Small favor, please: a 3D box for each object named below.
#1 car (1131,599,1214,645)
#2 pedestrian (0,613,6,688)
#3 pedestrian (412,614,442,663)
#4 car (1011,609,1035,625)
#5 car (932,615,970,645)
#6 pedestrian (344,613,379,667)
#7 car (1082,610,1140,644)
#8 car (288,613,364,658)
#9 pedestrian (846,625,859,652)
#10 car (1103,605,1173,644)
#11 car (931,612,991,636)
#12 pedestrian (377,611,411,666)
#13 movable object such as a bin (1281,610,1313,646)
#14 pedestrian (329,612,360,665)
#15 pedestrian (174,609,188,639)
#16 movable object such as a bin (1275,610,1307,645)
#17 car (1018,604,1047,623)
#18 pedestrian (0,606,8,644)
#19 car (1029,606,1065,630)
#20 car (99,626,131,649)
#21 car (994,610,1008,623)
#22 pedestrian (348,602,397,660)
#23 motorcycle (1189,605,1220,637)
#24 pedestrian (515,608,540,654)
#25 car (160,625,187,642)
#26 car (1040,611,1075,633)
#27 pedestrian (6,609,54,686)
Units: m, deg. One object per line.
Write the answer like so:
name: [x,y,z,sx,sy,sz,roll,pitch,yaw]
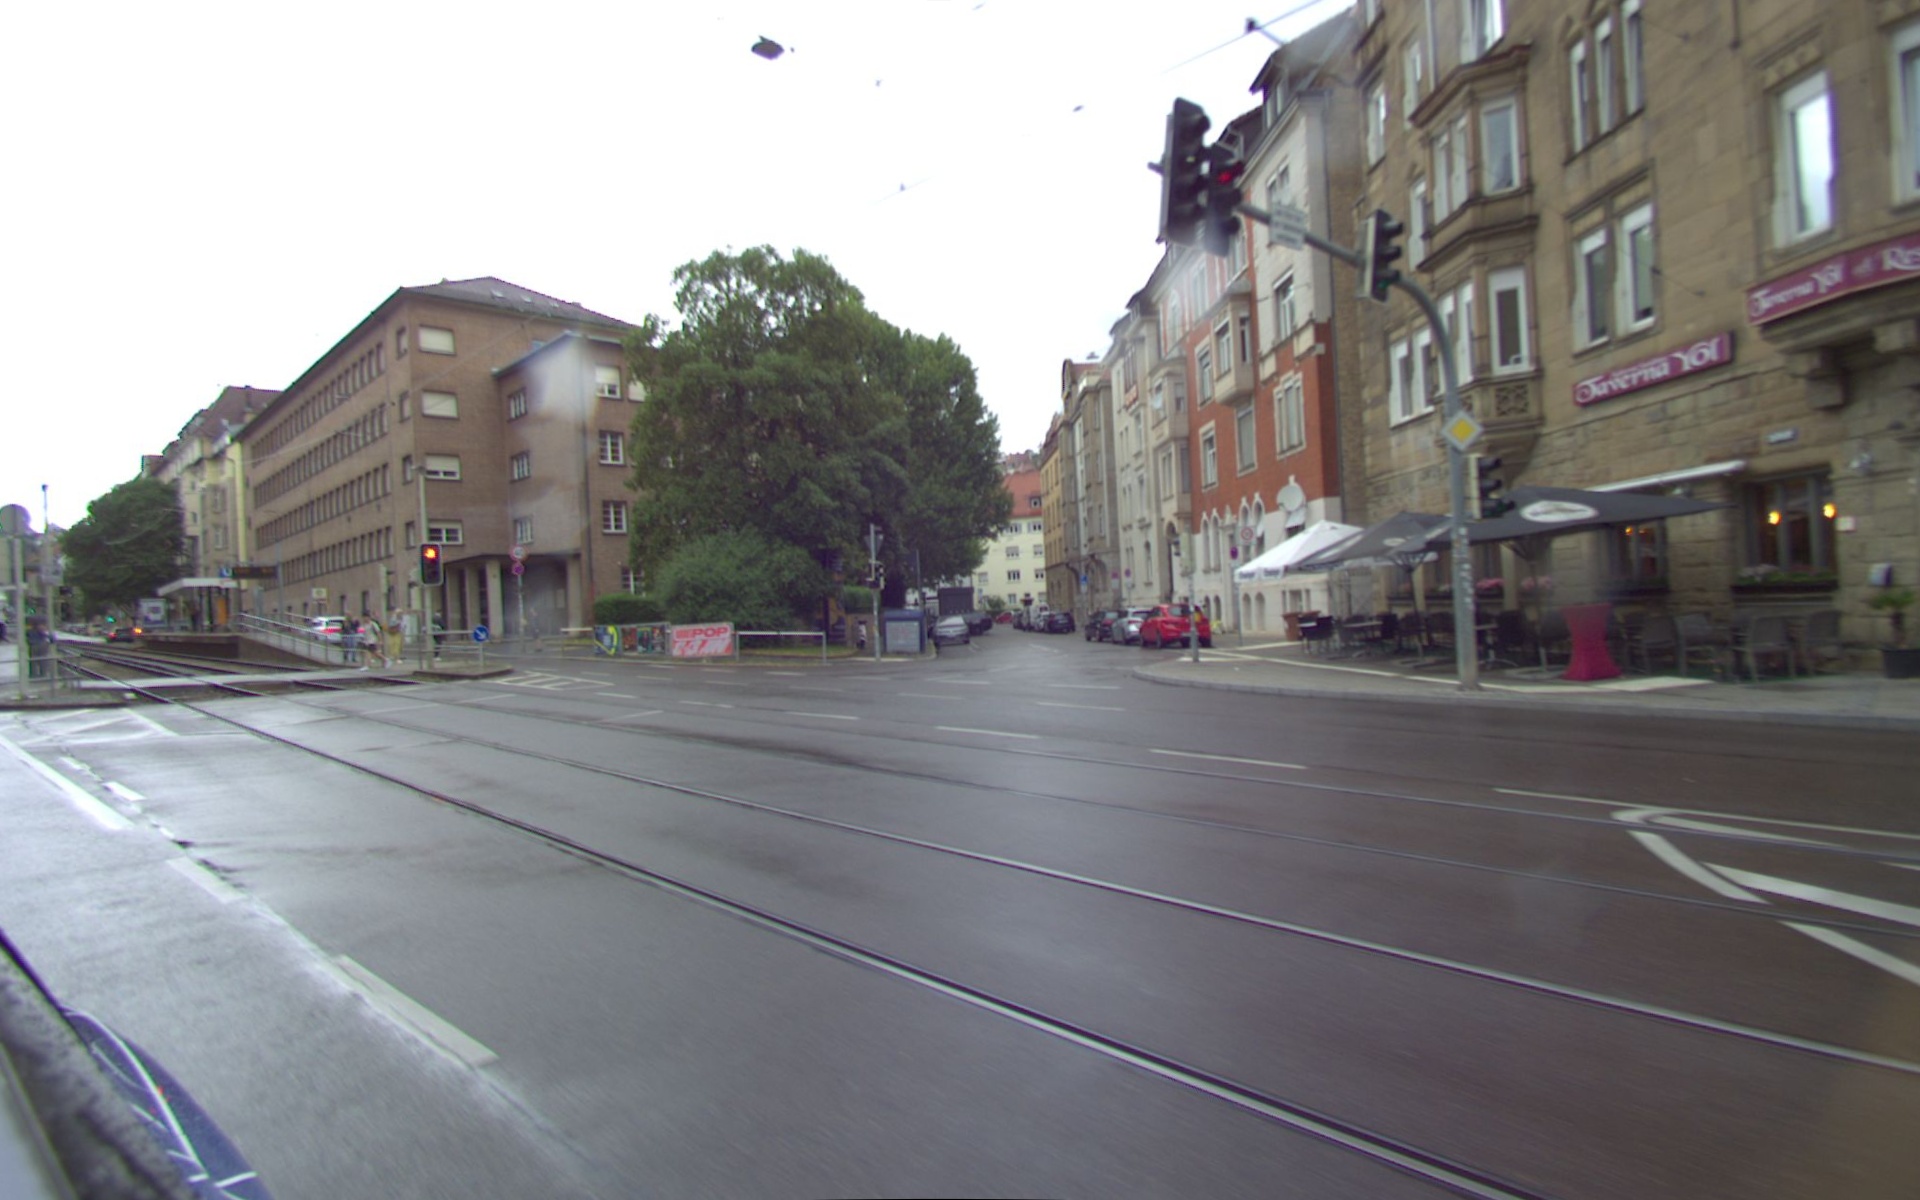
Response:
car: [7.013,0.735,33.796,1.717,1.413,4.002,-1,-1,-3]
pedestrian: [-26.564,1.397,27.199,0.916,2.029,0.947,-2,0,1]
pedestrian: [-18.217,1.306,34.613,0.649,1.663,0.756,-2,-2,45]
car: [5.500,1.484,88.402,1.717,1.413,3.702,-1,-1,-2]
car: [-0.475,1.499,50.882,1.717,1.413,4.002,-1,-1,-3]
pedestrian: [-19.536,1.299,33.019,0.883,1.709,0.735,-1,1,44]
car: [6.675,1.196,45.084,1.717,1.413,4.146,-1,-1,-3]
car: [-30.161,1.655,48.070,1.970,1.639,5.258,1,3,-44]
pedestrian: [-4.285,1.533,40.297,0.411,1.093,0.283,-1,-1,-20]
car: [6.771,0.925,38.835,1.717,1.413,4.170,-1,-1,-3]
car: [0.061,1.600,67.376,3.943,1.489,1.742,-1,-1,0]
pedestrian: [-17.846,1.218,31.899,0.735,1.659,0.641,-4,1,-44]
movable object such as a bin: [10.140,0.828,30.446,0.709,1.050,0.552,-1,-1,-14]
pedestrian: [-20.535,1.281,33.761,0.688,1.711,0.657,-1,1,43]
pedestrian: [-46.548,1.435,60.455,0.491,1.722,0.580,-3,-2,45]
movable object such as a bin: [10.164,0.832,31.064,0.709,1.050,0.552,-1,-1,-14]
car: [5.672,1.052,79.326,1.717,1.413,4.002,-1,-1,-3]
pedestrian: [-46.560,1.222,48.978,0.636,1.788,0.711,-2,0,-44]
car: [6.255,1.295,73.364,1.970,1.643,4.003,-1,-1,-3]
car: [-78.546,3.453,94.068,1.970,2.029,4.003,1,-2,-44]
car: [4.790,1.918,119.093,1.550,1.413,3.699,-1,-1,2]
pedestrian: [-16.363,0.859,28.206,0.693,1.595,0.945,-2,-1,33]
motorcycle: [9.995,0.856,41.427,0.738,1.265,1.860,-1,-1,-2]
pedestrian: [-15.953,1.134,37.350,0.688,1.688,0.597,-3,-2,43]
car: [-69.458,2.963,89.393,1.625,1.477,3.114,-2,0,-43]
car: [6.514,1.447,68.068,1.717,1.413,4.002,-1,-1,-3]
pedestrian: [-25.554,1.284,27.805,0.886,2.029,0.948,-2,0,-44]
